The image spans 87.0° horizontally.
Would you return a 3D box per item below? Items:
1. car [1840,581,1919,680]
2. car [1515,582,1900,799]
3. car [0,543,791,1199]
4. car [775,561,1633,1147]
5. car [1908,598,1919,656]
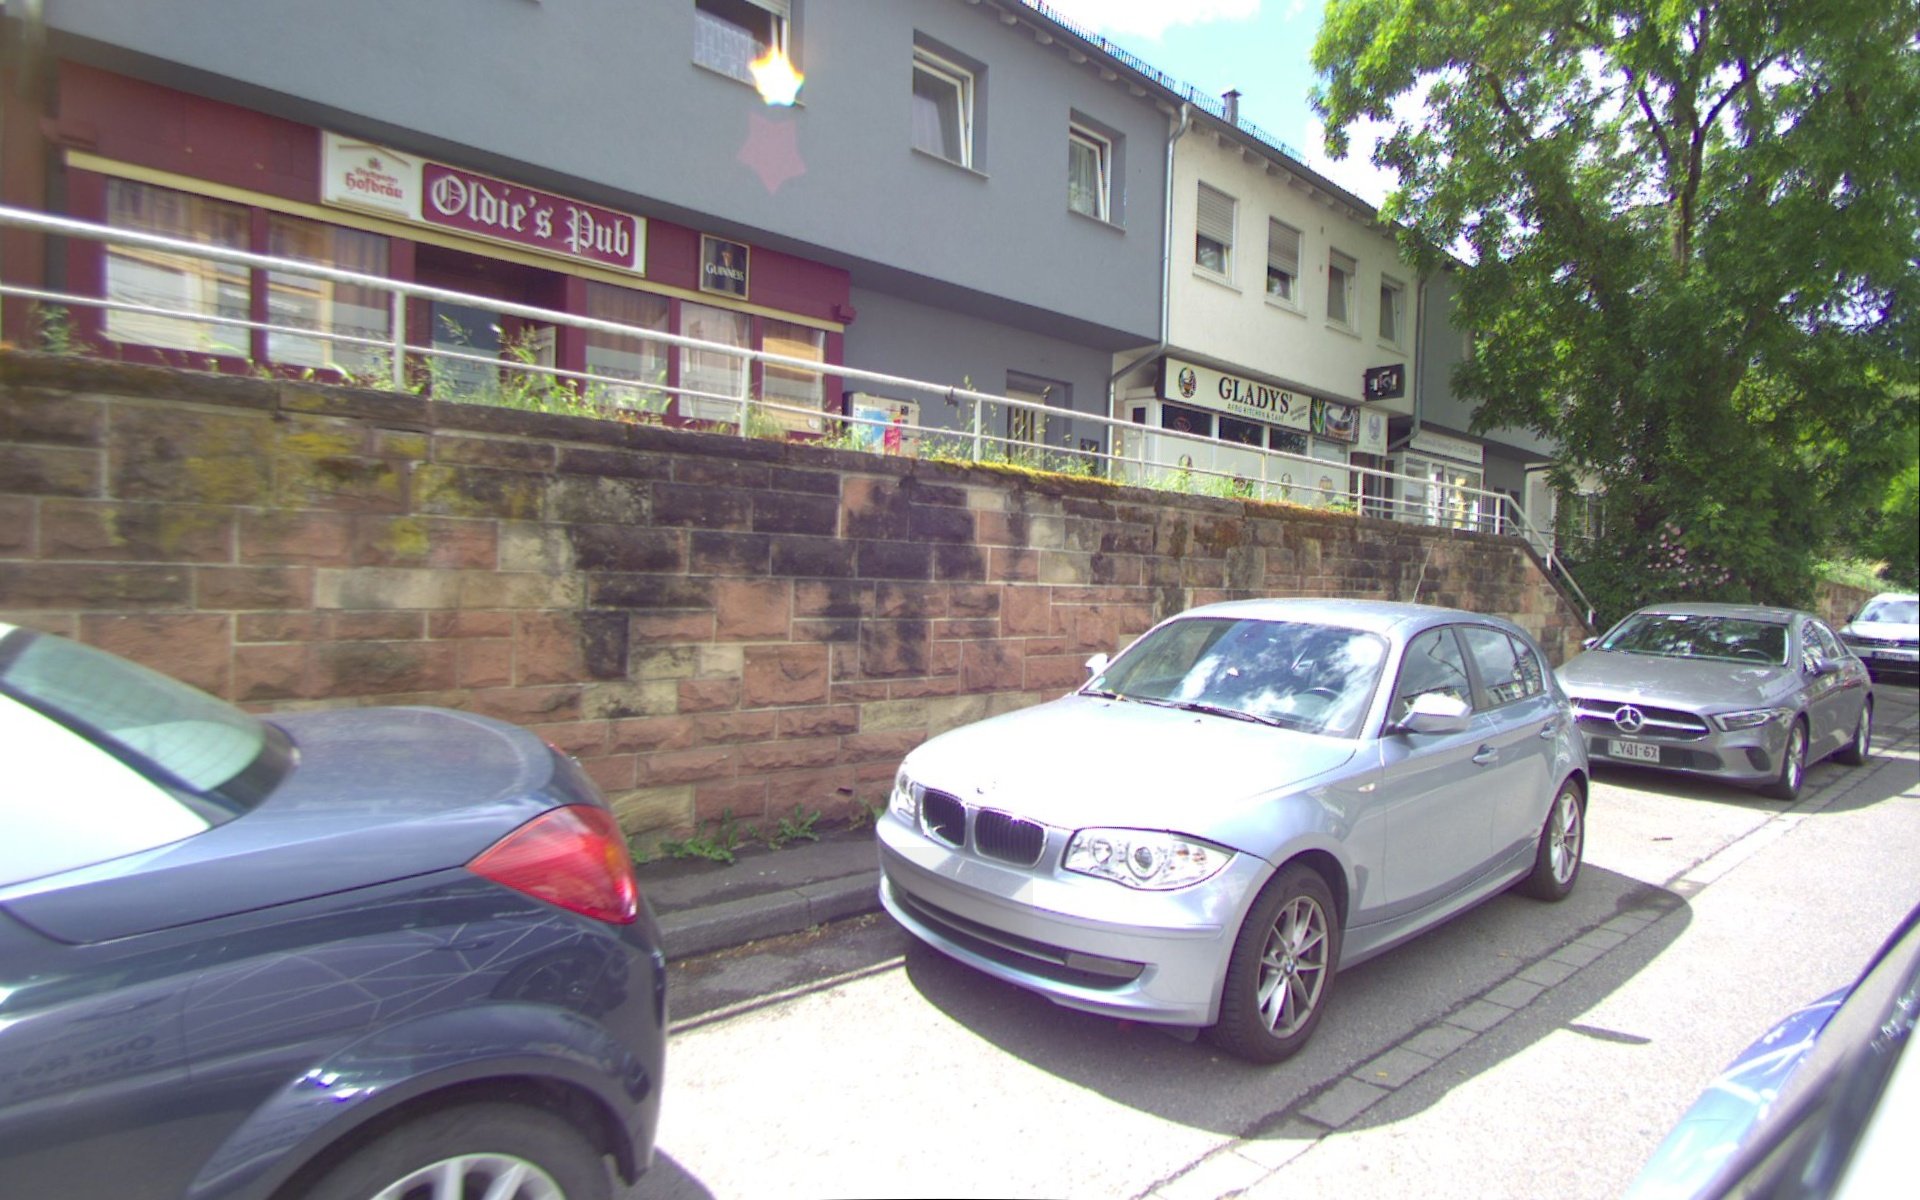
[{"bbox_3d":[18.200,0.540,18.999,4.073,1.673,1.819,0,3,-39],"label":"car"},{"bbox_3d":[6.763,0.615,9.003,4.073,1.446,1.785,0,2,-39],"label":"car"},{"bbox_3d":[-2.252,0.631,1.458,3.668,1.446,1.578,0,1,-39],"label":"car"},{"bbox_3d":[1.402,0.629,4.628,4.074,1.445,1.784,0,4,-42],"label":"car"},{"bbox_3d":[25.727,0.686,25.775,4.073,1.446,1.784,0,1,-39],"label":"car"}]
